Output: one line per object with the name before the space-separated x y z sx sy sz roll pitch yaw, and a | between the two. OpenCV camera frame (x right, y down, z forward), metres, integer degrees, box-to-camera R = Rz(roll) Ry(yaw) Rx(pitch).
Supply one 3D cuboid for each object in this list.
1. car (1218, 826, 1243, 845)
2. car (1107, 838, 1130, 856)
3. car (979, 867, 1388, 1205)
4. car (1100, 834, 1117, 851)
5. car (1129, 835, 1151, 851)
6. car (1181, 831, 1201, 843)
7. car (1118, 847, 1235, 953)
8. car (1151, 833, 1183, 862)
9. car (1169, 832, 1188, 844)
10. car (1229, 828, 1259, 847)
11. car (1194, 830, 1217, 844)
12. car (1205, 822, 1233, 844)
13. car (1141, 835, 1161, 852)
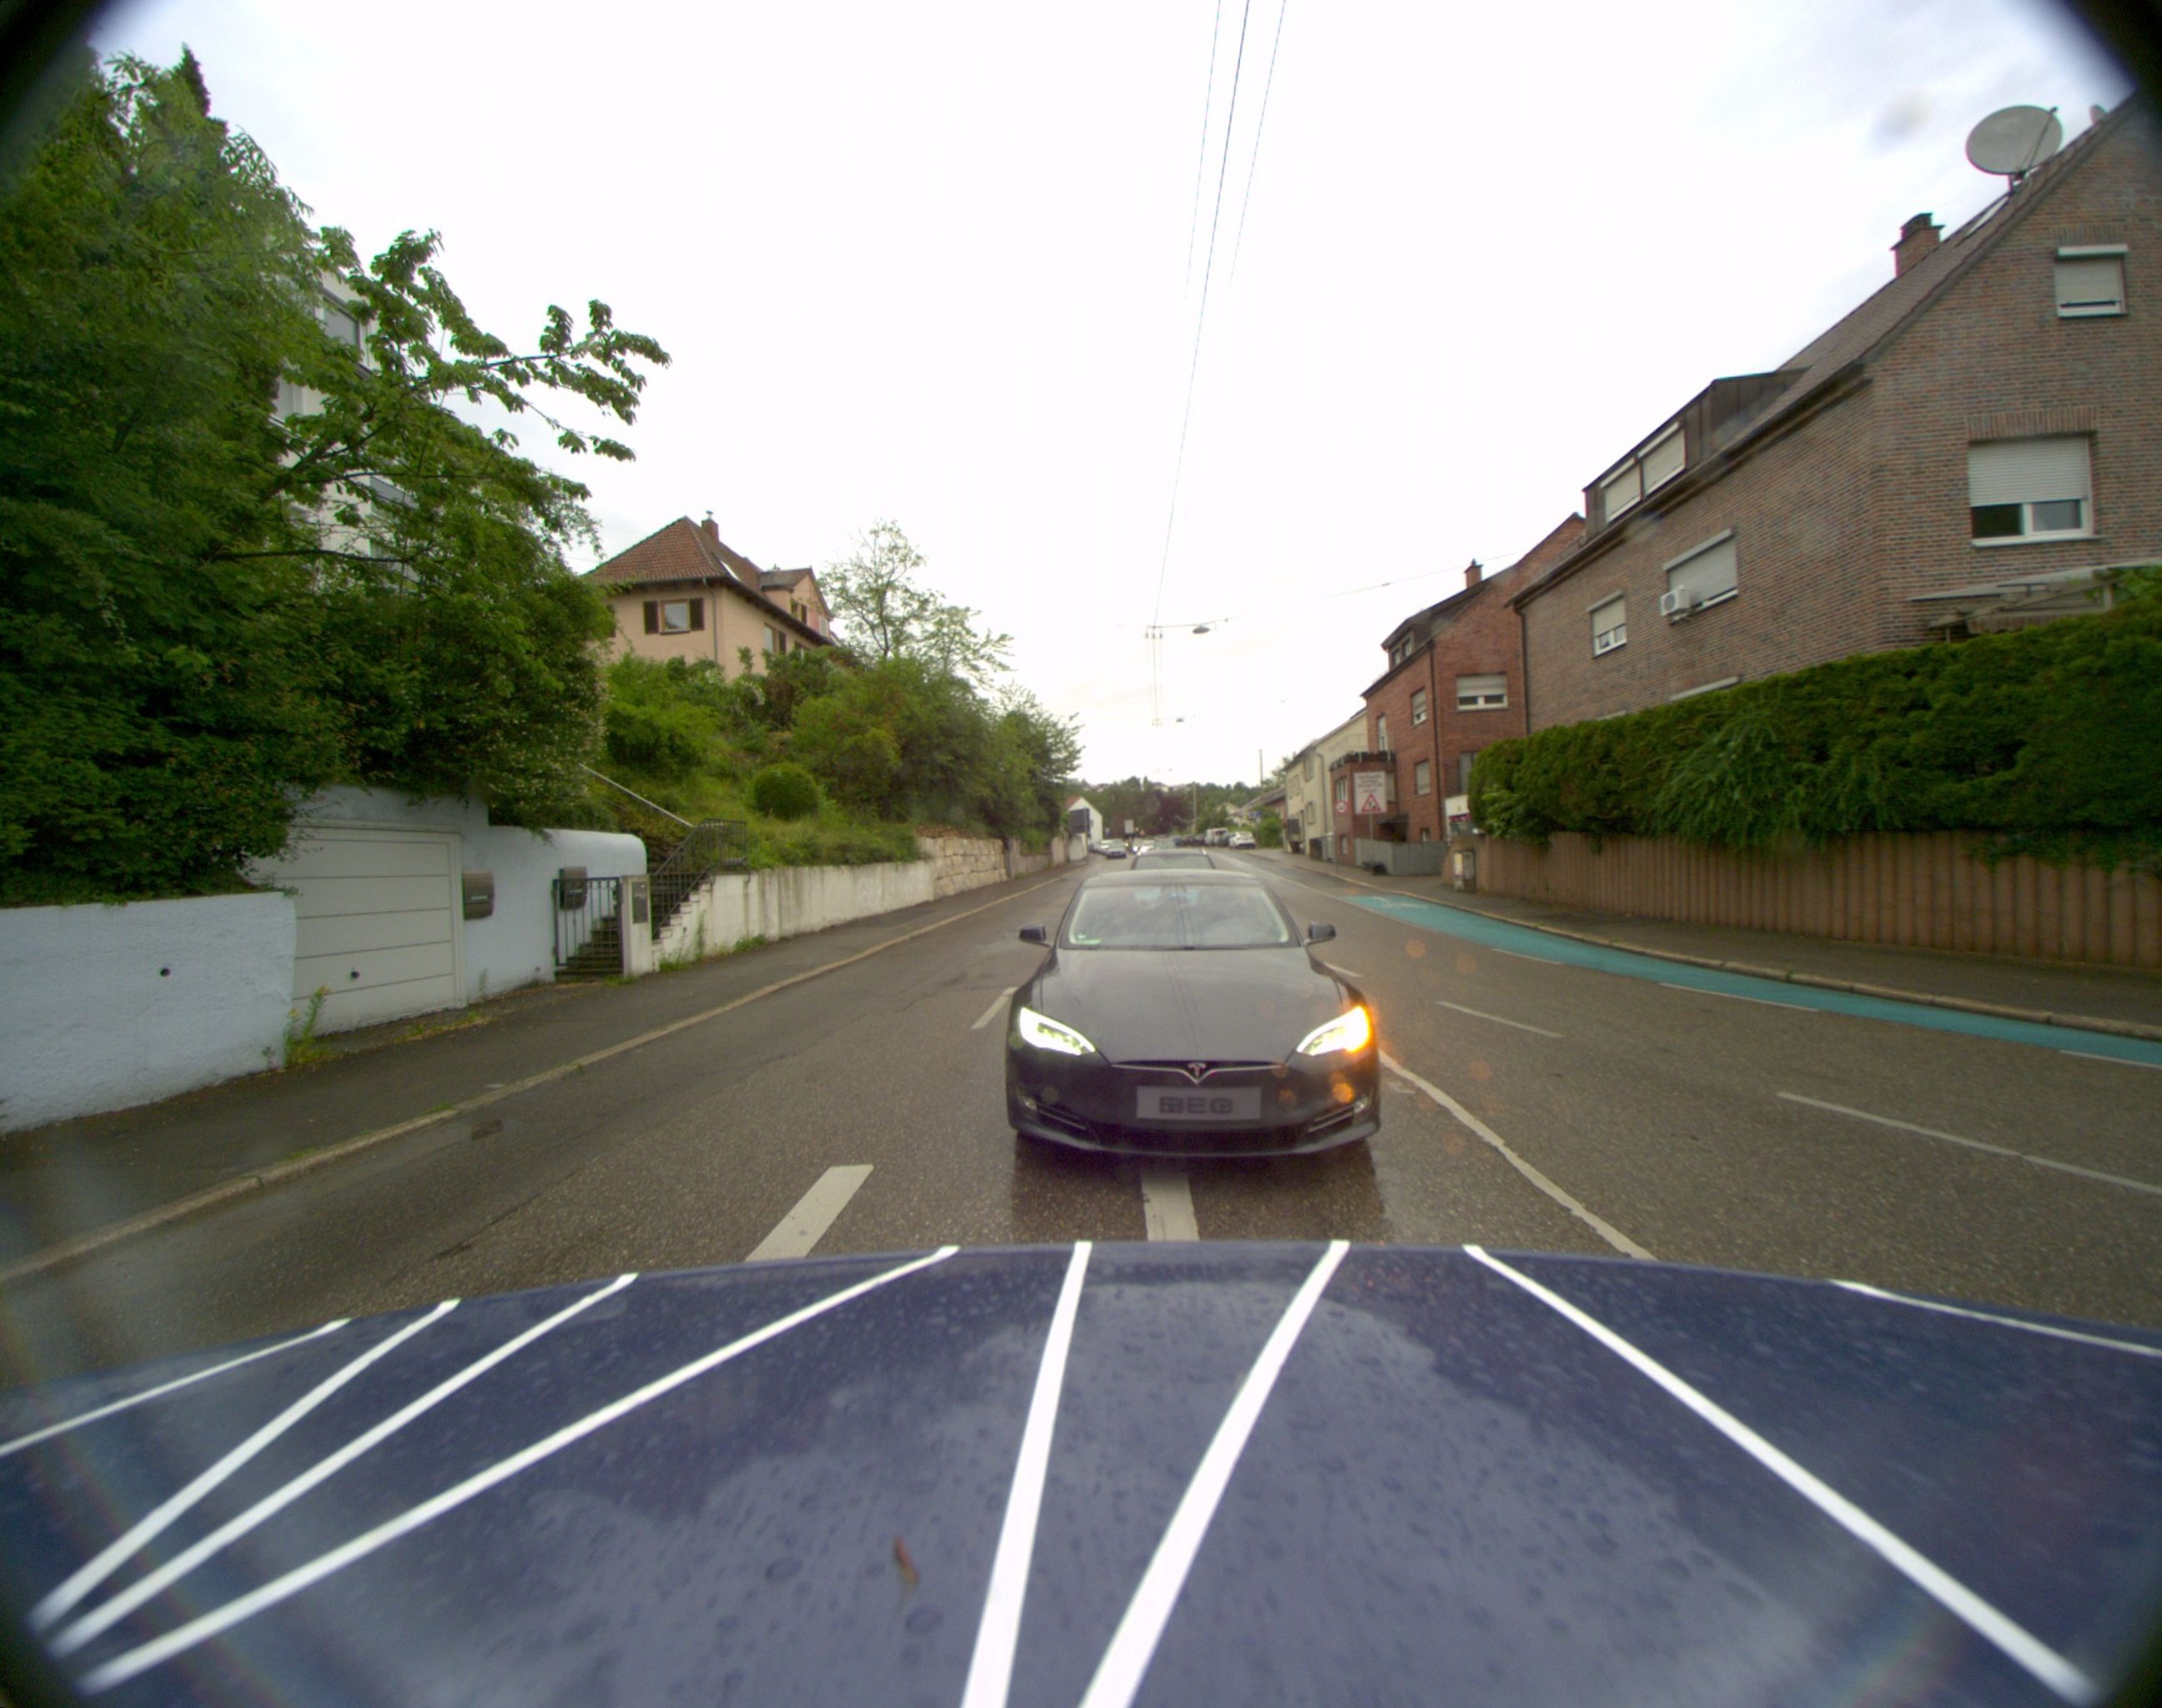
car | 15.725 -1.919 80.101 1.814 1.793 4.263 -4 1 2
car | 3.657 -0.637 73.283 2.002 1.596 4.360 -2 -1 4
car | 0.620 0.907 5.563 1.870 1.407 4.000 -2 1 4
car | 3.185 -1.321 89.025 1.820 1.855 4.038 -2 2 -1
car | 6.576 -1.245 85.180 1.999 1.615 3.998 -2 1 -3
car | 14.111 -2.104 97.394 1.654 1.388 3.859 -4 1 -4
car | 1.648 0.710 13.900 1.789 1.580 3.784 -2 1 4
car | 5.475 -0.404 48.800 1.816 1.720 4.002 -2 -1 4
car | 13.124 -2.137 102.469 1.624 1.482 3.901 -4 1 -4
car | 15.357 -1.566 71.953 1.946 1.557 4.263 -4 1 2
car | 15.008 -2.006 91.499 1.654 1.482 4.009 -4 1 -6
car | 15.614 -2.348 86.130 2.257 2.273 4.546 -4 1 0
car | 6.644 -0.962 72.143 1.737 1.493 3.883 -2 -1 4
